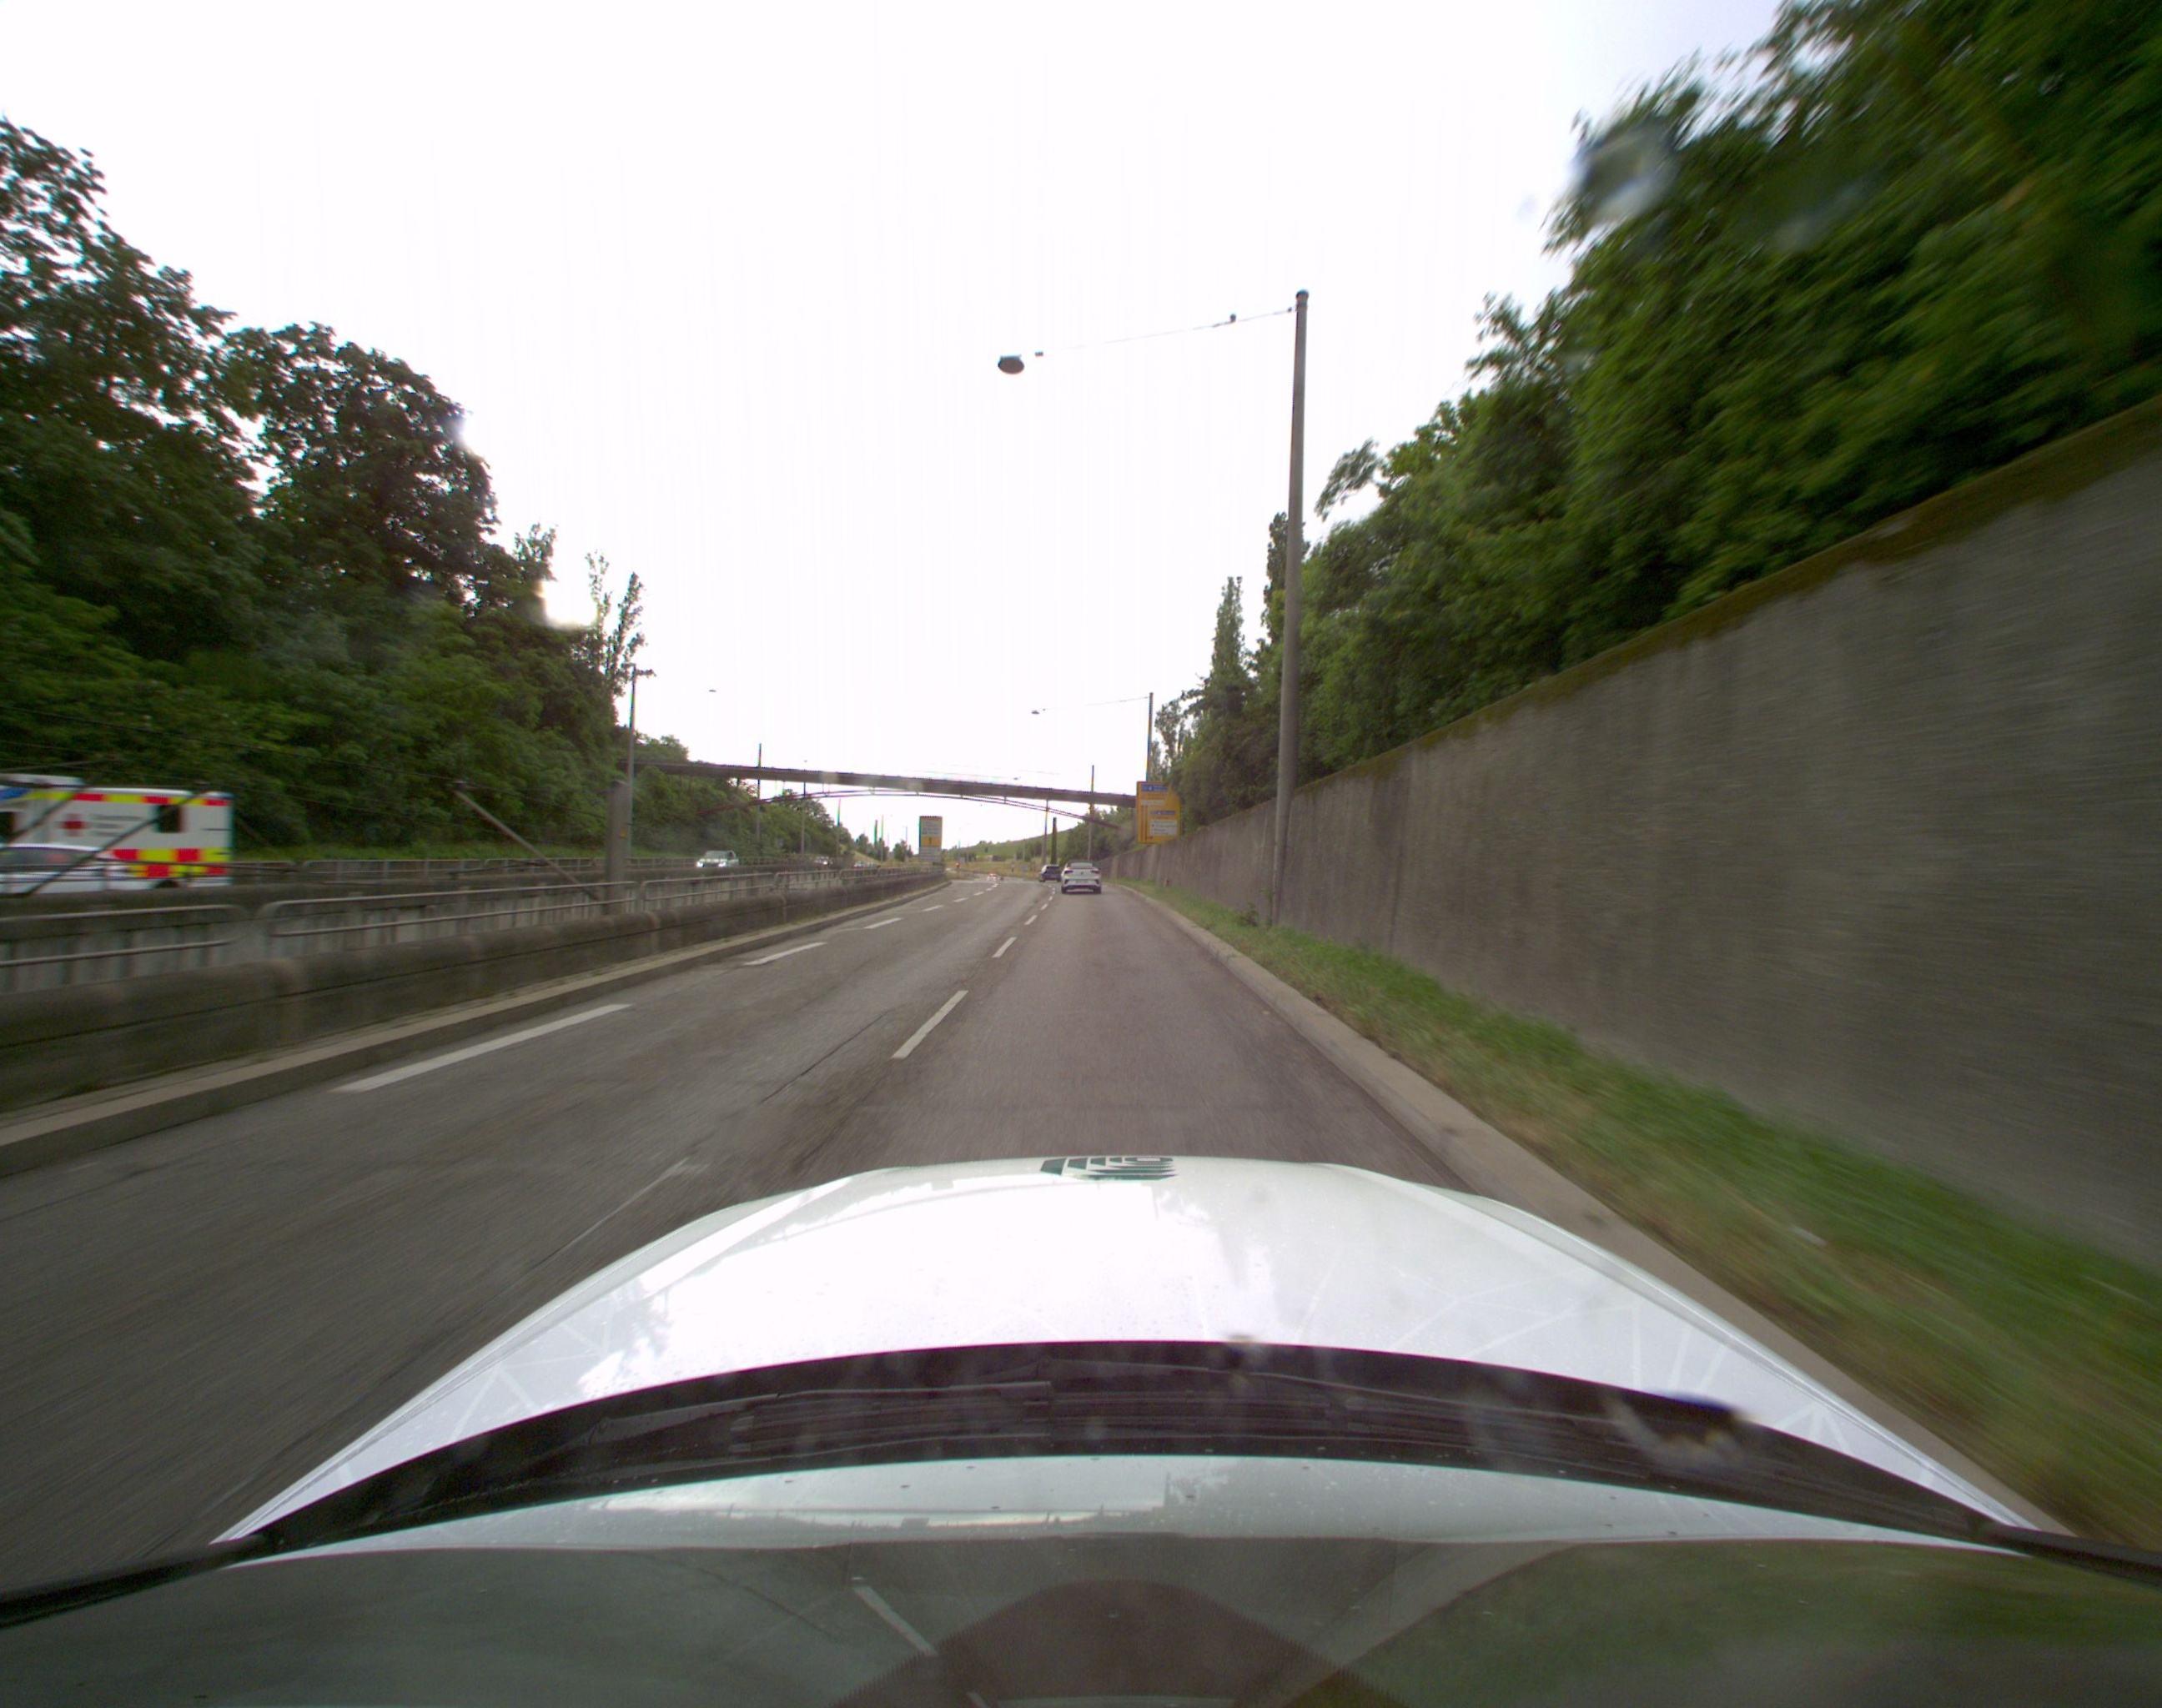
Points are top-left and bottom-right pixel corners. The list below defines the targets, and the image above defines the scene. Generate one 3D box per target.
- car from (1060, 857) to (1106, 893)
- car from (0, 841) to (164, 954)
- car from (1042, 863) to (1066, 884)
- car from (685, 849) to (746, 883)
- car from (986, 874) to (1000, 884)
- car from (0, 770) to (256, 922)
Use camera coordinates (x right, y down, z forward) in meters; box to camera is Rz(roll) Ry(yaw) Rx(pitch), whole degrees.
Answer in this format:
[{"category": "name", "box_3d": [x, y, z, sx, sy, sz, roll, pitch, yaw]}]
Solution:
[{"category": "car", "box_3d": [0.017, 0.932, 37.891, 1.990, 1.578, 4.122, -1, 0, -2]}, {"category": "car", "box_3d": [-17.150, 0.668, 12.374, 1.813, 1.704, 4.108, -1, -1, -2]}, {"category": "car", "box_3d": [-2.232, 1.618, 68.618, 1.921, 1.599, 4.059, -1, 0, -1]}, {"category": "car", "box_3d": [-20.300, 0.657, 45.386, 1.960, 1.750, 4.129, -1, -1, -8]}, {"category": "car", "box_3d": [-16.020, 4.548, 148.396, 1.767, 1.519, 3.726, 4, -3, 3]}, {"category": "car", "box_3d": [-20.561, -0.110, 16.076, 2.176, 2.734, 6.340, -1, -1, -2]}]
